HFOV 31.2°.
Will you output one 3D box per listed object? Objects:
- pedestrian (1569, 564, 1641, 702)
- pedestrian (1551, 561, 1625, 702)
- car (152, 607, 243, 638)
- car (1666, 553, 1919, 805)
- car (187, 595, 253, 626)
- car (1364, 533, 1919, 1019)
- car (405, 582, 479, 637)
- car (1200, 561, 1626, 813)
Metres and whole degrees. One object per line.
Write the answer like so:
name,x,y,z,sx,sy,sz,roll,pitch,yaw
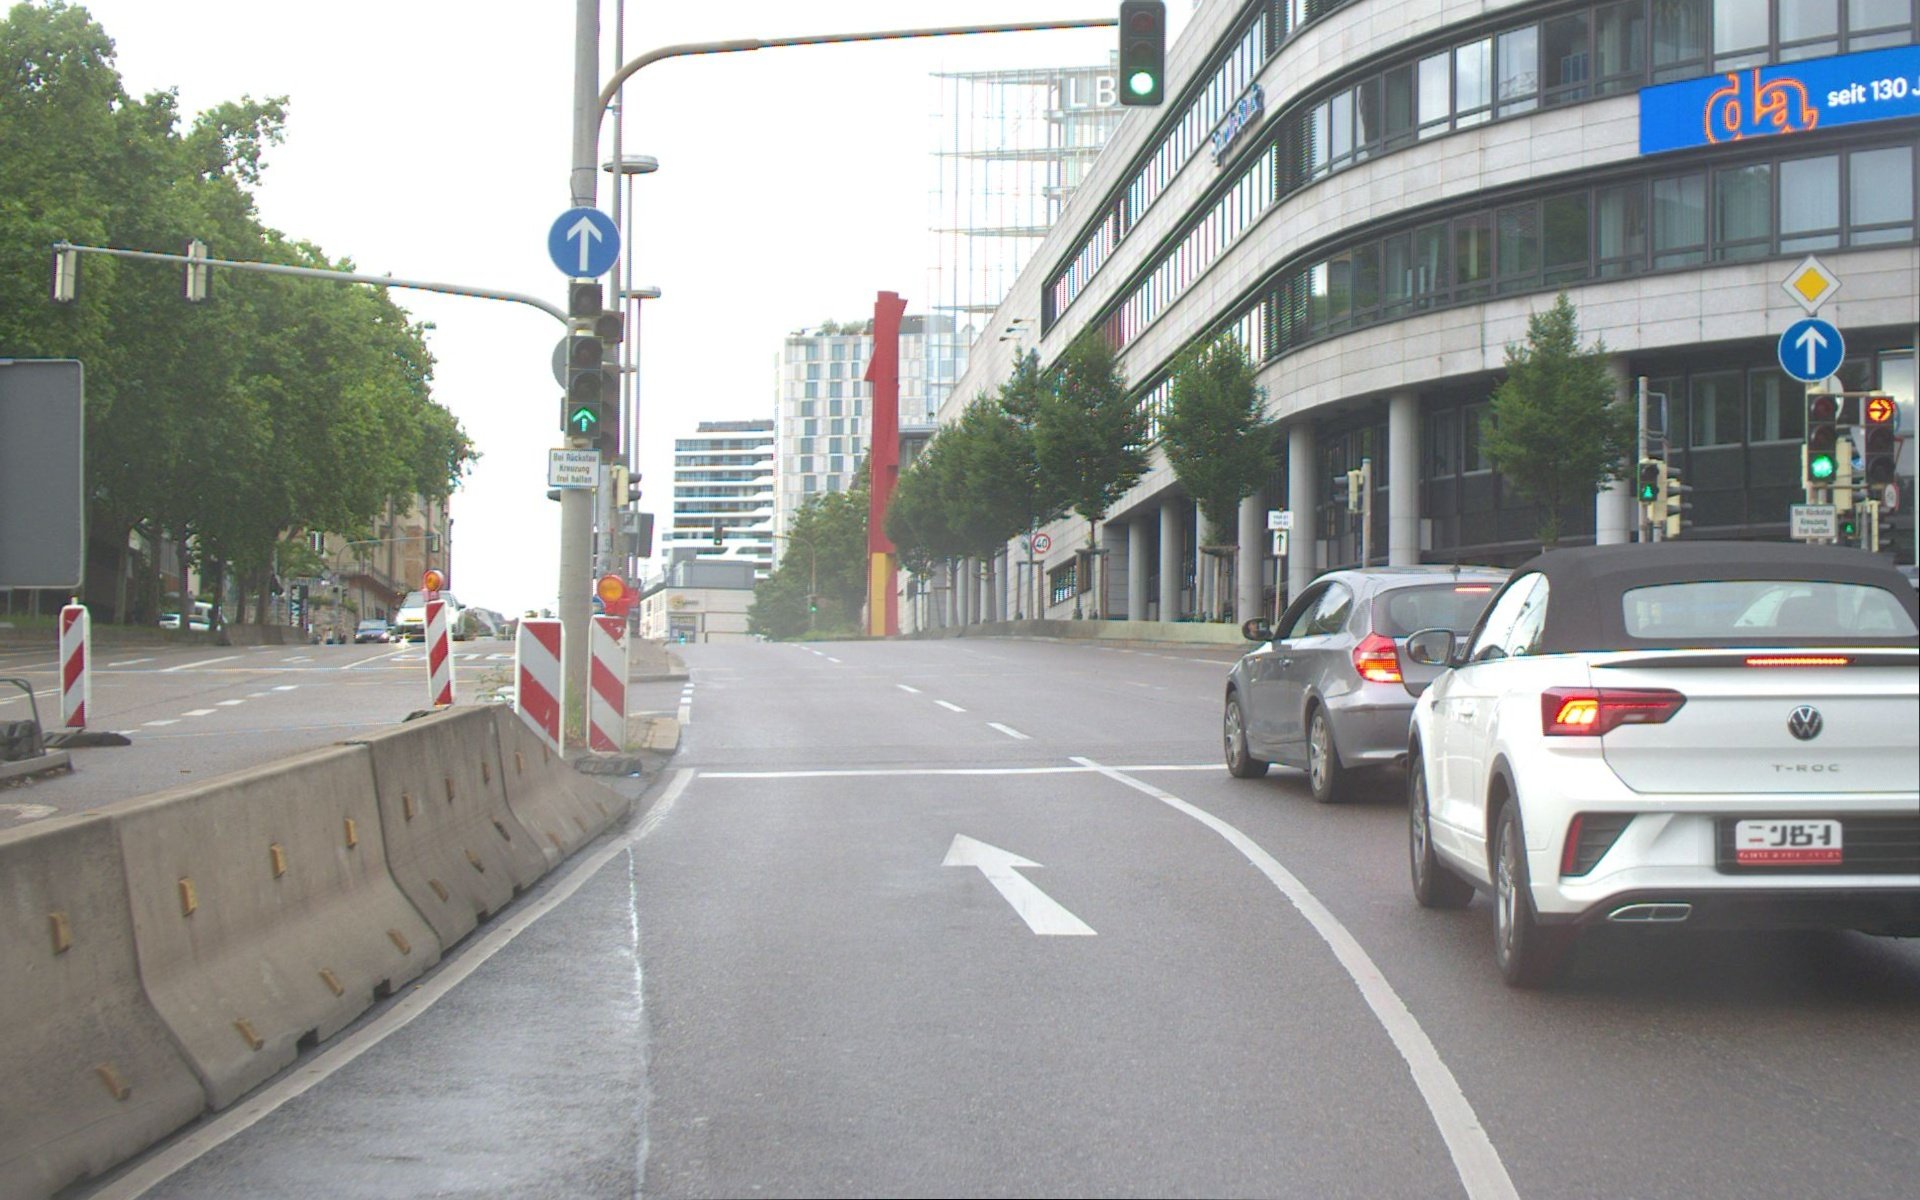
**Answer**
pedestrian,8.964,0.464,47.755,0.841,1.898,0.731,0,-1,22
pedestrian,8.558,0.434,46.837,0.841,1.898,0.860,0,-2,22
car,-39.311,1.169,177.352,1.823,1.506,4.569,-3,-2,34
car,5.767,0.494,21.446,1.754,1.402,4.227,2,-1,-1
car,-43.929,0.645,204.168,3.628,1.695,1.825,-1,-2,-7
car,2.748,0.549,13.068,1.964,1.543,4.218,0,0,1
car,-14.570,0.249,96.883,1.761,1.456,4.360,-1,1,-5
car,2.754,0.500,21.788,1.739,1.438,4.001,0,0,-7
